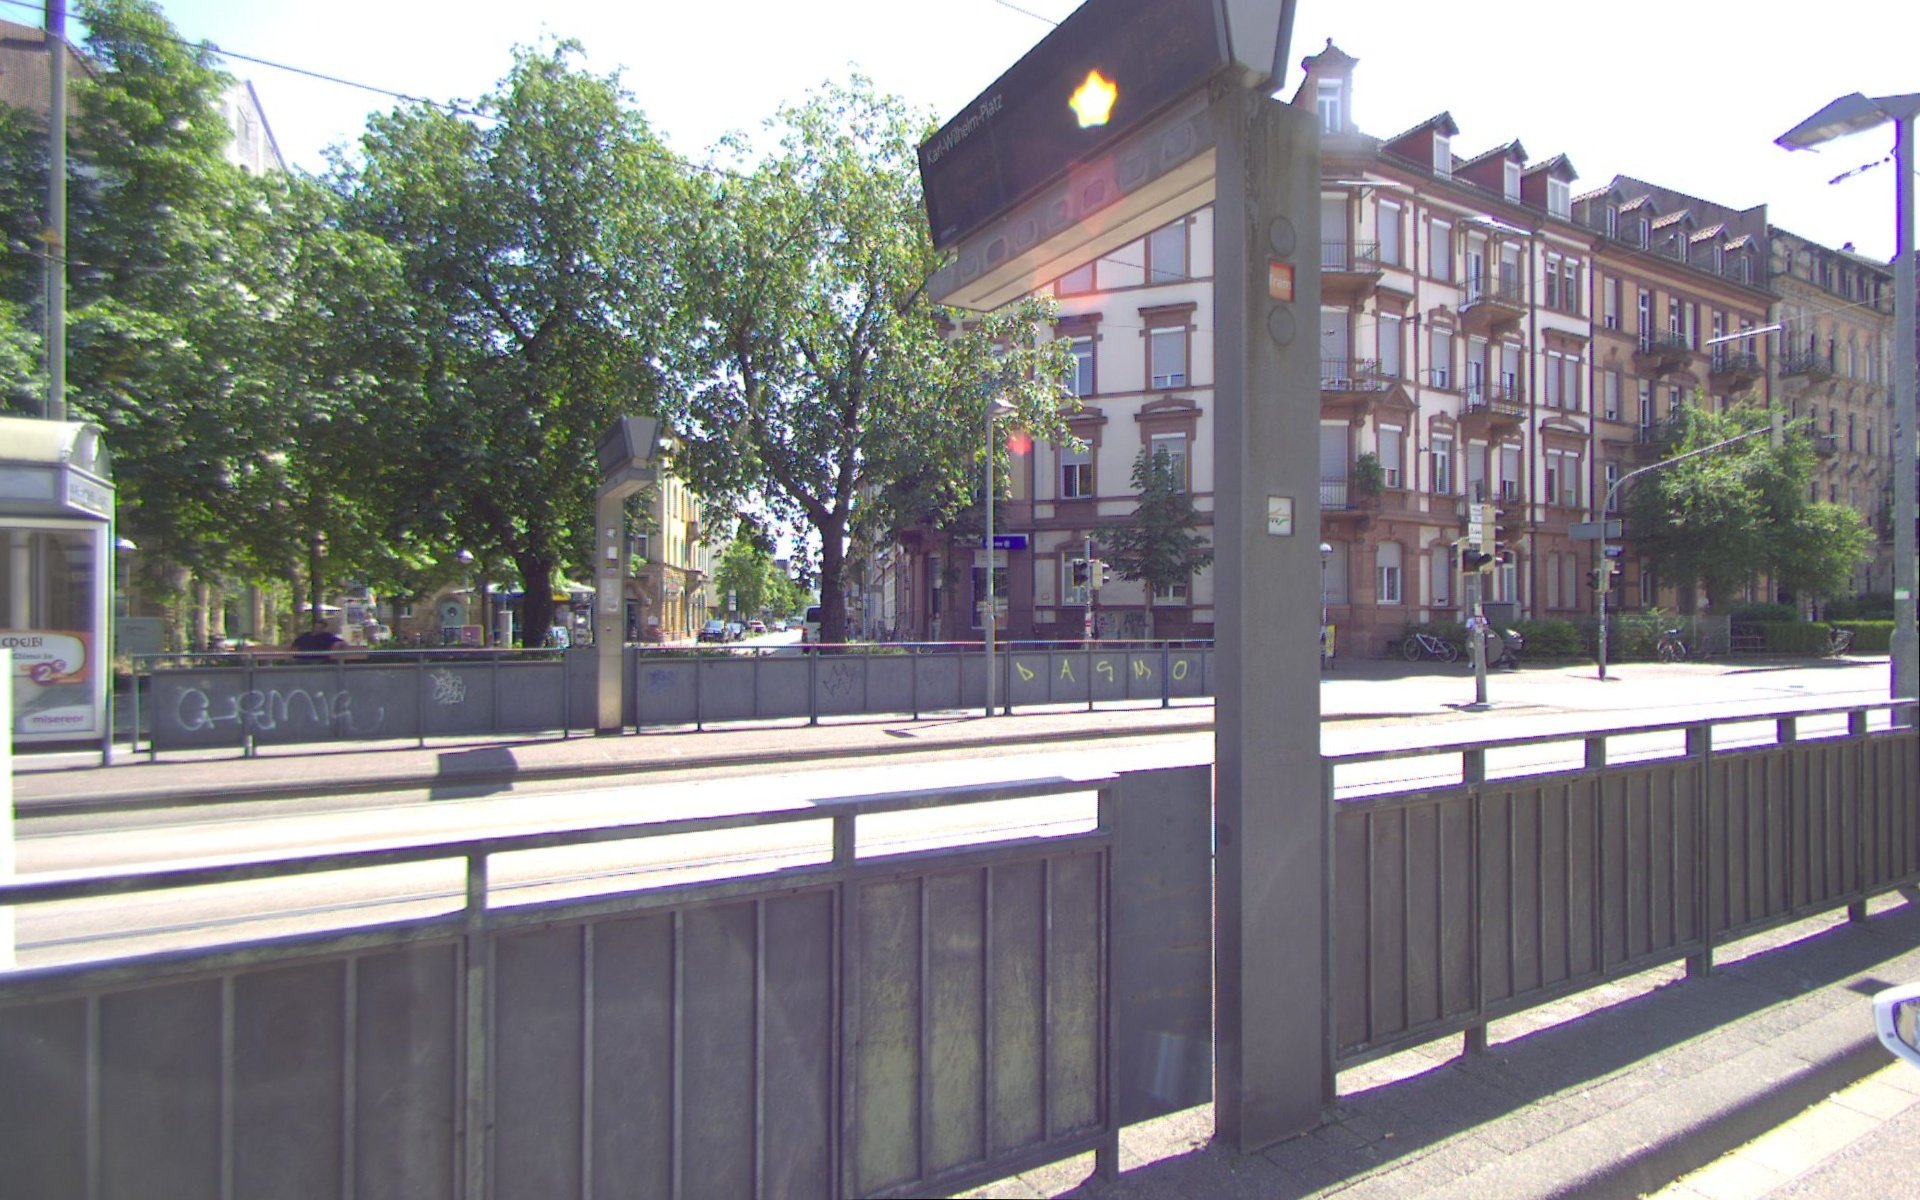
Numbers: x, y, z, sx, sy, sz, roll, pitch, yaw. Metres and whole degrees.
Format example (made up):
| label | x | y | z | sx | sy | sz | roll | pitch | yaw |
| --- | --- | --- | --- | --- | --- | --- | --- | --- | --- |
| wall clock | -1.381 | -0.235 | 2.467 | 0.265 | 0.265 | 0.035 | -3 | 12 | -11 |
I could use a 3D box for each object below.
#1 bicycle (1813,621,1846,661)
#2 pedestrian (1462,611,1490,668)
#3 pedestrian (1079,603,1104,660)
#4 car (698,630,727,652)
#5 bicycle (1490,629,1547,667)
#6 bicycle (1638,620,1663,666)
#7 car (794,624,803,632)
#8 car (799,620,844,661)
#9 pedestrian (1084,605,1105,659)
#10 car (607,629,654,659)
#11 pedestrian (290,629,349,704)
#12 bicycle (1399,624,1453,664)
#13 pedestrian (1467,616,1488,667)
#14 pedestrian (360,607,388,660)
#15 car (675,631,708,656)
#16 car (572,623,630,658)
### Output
| label | x | y | z | sx | sy | sz | roll | pitch | yaw |
| --- | --- | --- | --- | --- | --- | --- | --- | --- | --- |
| bicycle | 31.439 | 1.464 | 36.351 | 0.583 | 1.374 | 2.434 | 0 | -1 | 33 |
| pedestrian | 15.148 | 1.149 | 29.495 | 0.640 | 1.637 | 0.469 | 1 | 2 | 18 |
| pedestrian | 4.348 | 1.036 | 33.078 | 0.556 | 1.849 | 0.632 | 0 | -1 | 38 |
| car | -17.919 | 2.943 | 72.782 | 1.513 | 1.461 | 3.738 | 1 | -1 | -7 |
| bicycle | 16.293 | 1.384 | 29.345 | 1.375 | 1.027 | 0.389 | 2 | 0 | 20 |
| bicycle | 22.306 | 1.369 | 32.457 | 0.606 | 1.414 | 2.301 | 0 | -1 | 33 |
| car | -30.770 | 5.305 | 192.000 | 1.513 | 1.461 | 3.738 | 1 | -1 | -7 |
| car | -5.292 | 1.538 | 38.696 | 1.512 | 1.461 | 3.739 | 1 | -1 | -5 |
| pedestrian | 4.557 | 1.085 | 34.089 | 0.500 | 1.791 | 0.527 | 0 | -1 | 38 |
| car | -17.095 | 2.263 | 52.223 | 1.512 | 1.461 | 3.739 | 1 | -1 | -5 |
| pedestrian | -11.559 | 1.178 | 18.123 | 0.607 | 1.304 | 0.646 | 1 | -1 | 20 |
| bicycle | 14.646 | 1.378 | 31.553 | 1.494 | 1.185 | 0.364 | 1 | 1 | 34 |
| pedestrian | 15.559 | 1.240 | 30.201 | 0.497 | 1.536 | 0.469 | 1 | 0 | 18 |
| pedestrian | -22.744 | 1.290 | 38.990 | 0.703 | 2.040 | 0.812 | 0 | -1 | -13 |
| car | -17.260 | 2.781 | 64.617 | 1.513 | 1.461 | 3.738 | 1 | -1 | -7 |
| car | -15.831 | 1.762 | 44.421 | 1.512 | 1.461 | 3.739 | 1 | -1 | -5 |
